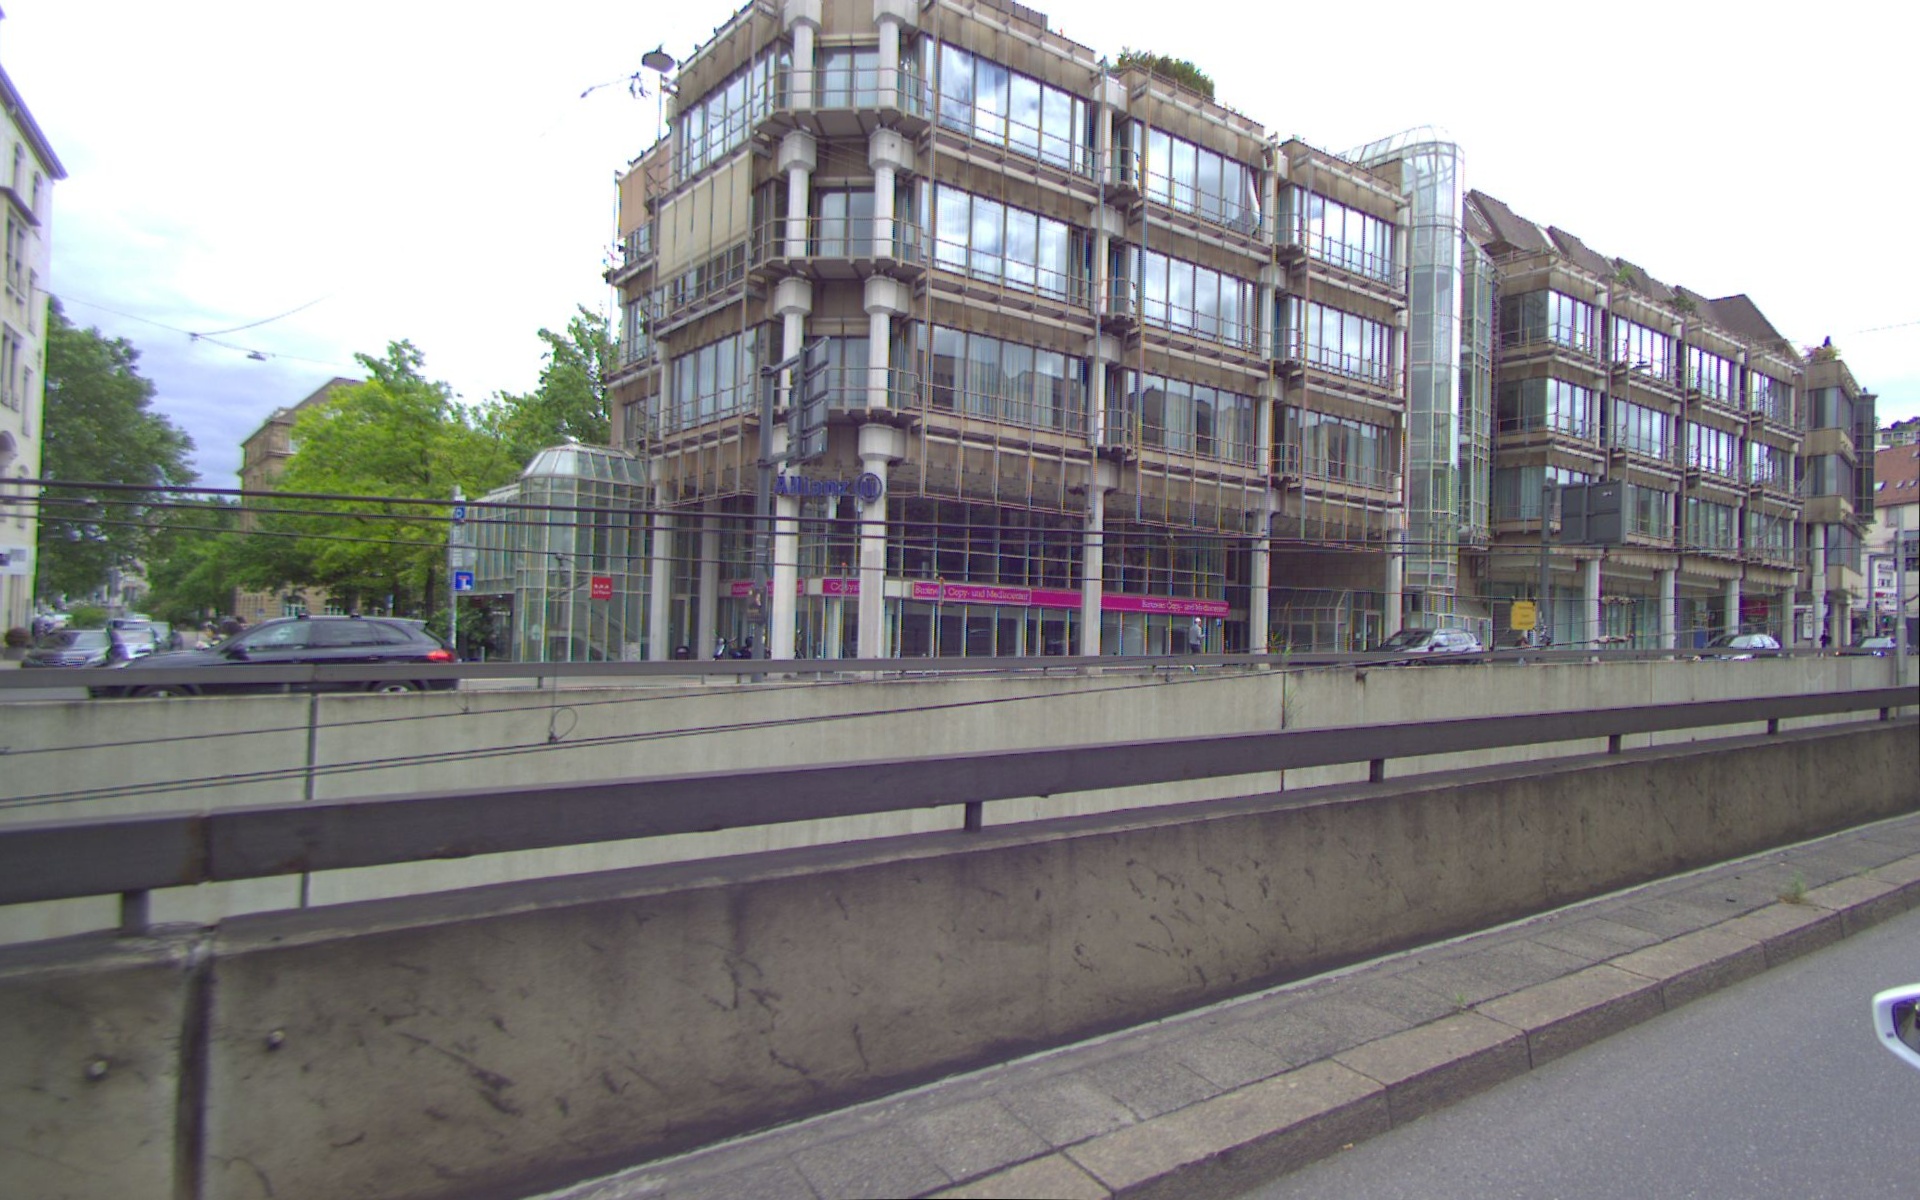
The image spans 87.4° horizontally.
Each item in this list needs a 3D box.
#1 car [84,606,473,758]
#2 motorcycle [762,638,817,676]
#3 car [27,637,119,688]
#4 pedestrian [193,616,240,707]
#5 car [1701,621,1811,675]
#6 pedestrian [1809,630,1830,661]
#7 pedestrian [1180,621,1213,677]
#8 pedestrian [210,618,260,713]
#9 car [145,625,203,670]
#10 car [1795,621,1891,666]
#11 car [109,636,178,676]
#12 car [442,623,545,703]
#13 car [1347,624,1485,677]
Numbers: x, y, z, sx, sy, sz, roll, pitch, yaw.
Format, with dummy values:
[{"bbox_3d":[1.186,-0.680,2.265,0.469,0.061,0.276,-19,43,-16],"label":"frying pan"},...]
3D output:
[{"bbox_3d":[-10.365,1.188,15.747,4.737,2.040,1.983,2,0,-32],"label":"car"},{"bbox_3d":[-5.218,1.742,30.800,0.634,1.089,1.666,2,0,38],"label":"motorcycle"},{"bbox_3d":[-24.395,1.682,27.735,1.635,1.250,3.561,2,-2,-38],"label":"car"},{"bbox_3d":[-14.672,1.189,19.813,0.682,1.734,0.703,1,0,-42],"label":"pedestrian"},{"bbox_3d":[31.090,1.895,39.229,4.330,1.939,1.983,3,-1,-32],"label":"car"},{"bbox_3d":[51.378,2.703,60.016,0.731,1.835,0.727,2,0,-30],"label":"pedestrian"},{"bbox_3d":[7.888,1.617,33.529,0.731,1.816,0.727,2,0,-30],"label":"pedestrian"},{"bbox_3d":[-13.716,1.214,19.005,0.682,1.734,0.703,1,0,-42],"label":"pedestrian"},{"bbox_3d":[-30.914,1.836,39.562,1.634,1.683,3.563,2,-2,-36],"label":"car"},{"bbox_3d":[40.177,1.957,45.674,4.736,1.989,1.983,1,-2,-32],"label":"car"},{"bbox_3d":[-27.127,1.842,33.449,1.419,1.211,3.566,2,-2,-34],"label":"car"},{"bbox_3d":[-10.839,1.386,23.234,1.633,1.683,3.616,2,-2,-34],"label":"car"},{"bbox_3d":[14.430,1.572,31.734,4.593,1.581,1.803,2,-2,-33],"label":"car"}]
